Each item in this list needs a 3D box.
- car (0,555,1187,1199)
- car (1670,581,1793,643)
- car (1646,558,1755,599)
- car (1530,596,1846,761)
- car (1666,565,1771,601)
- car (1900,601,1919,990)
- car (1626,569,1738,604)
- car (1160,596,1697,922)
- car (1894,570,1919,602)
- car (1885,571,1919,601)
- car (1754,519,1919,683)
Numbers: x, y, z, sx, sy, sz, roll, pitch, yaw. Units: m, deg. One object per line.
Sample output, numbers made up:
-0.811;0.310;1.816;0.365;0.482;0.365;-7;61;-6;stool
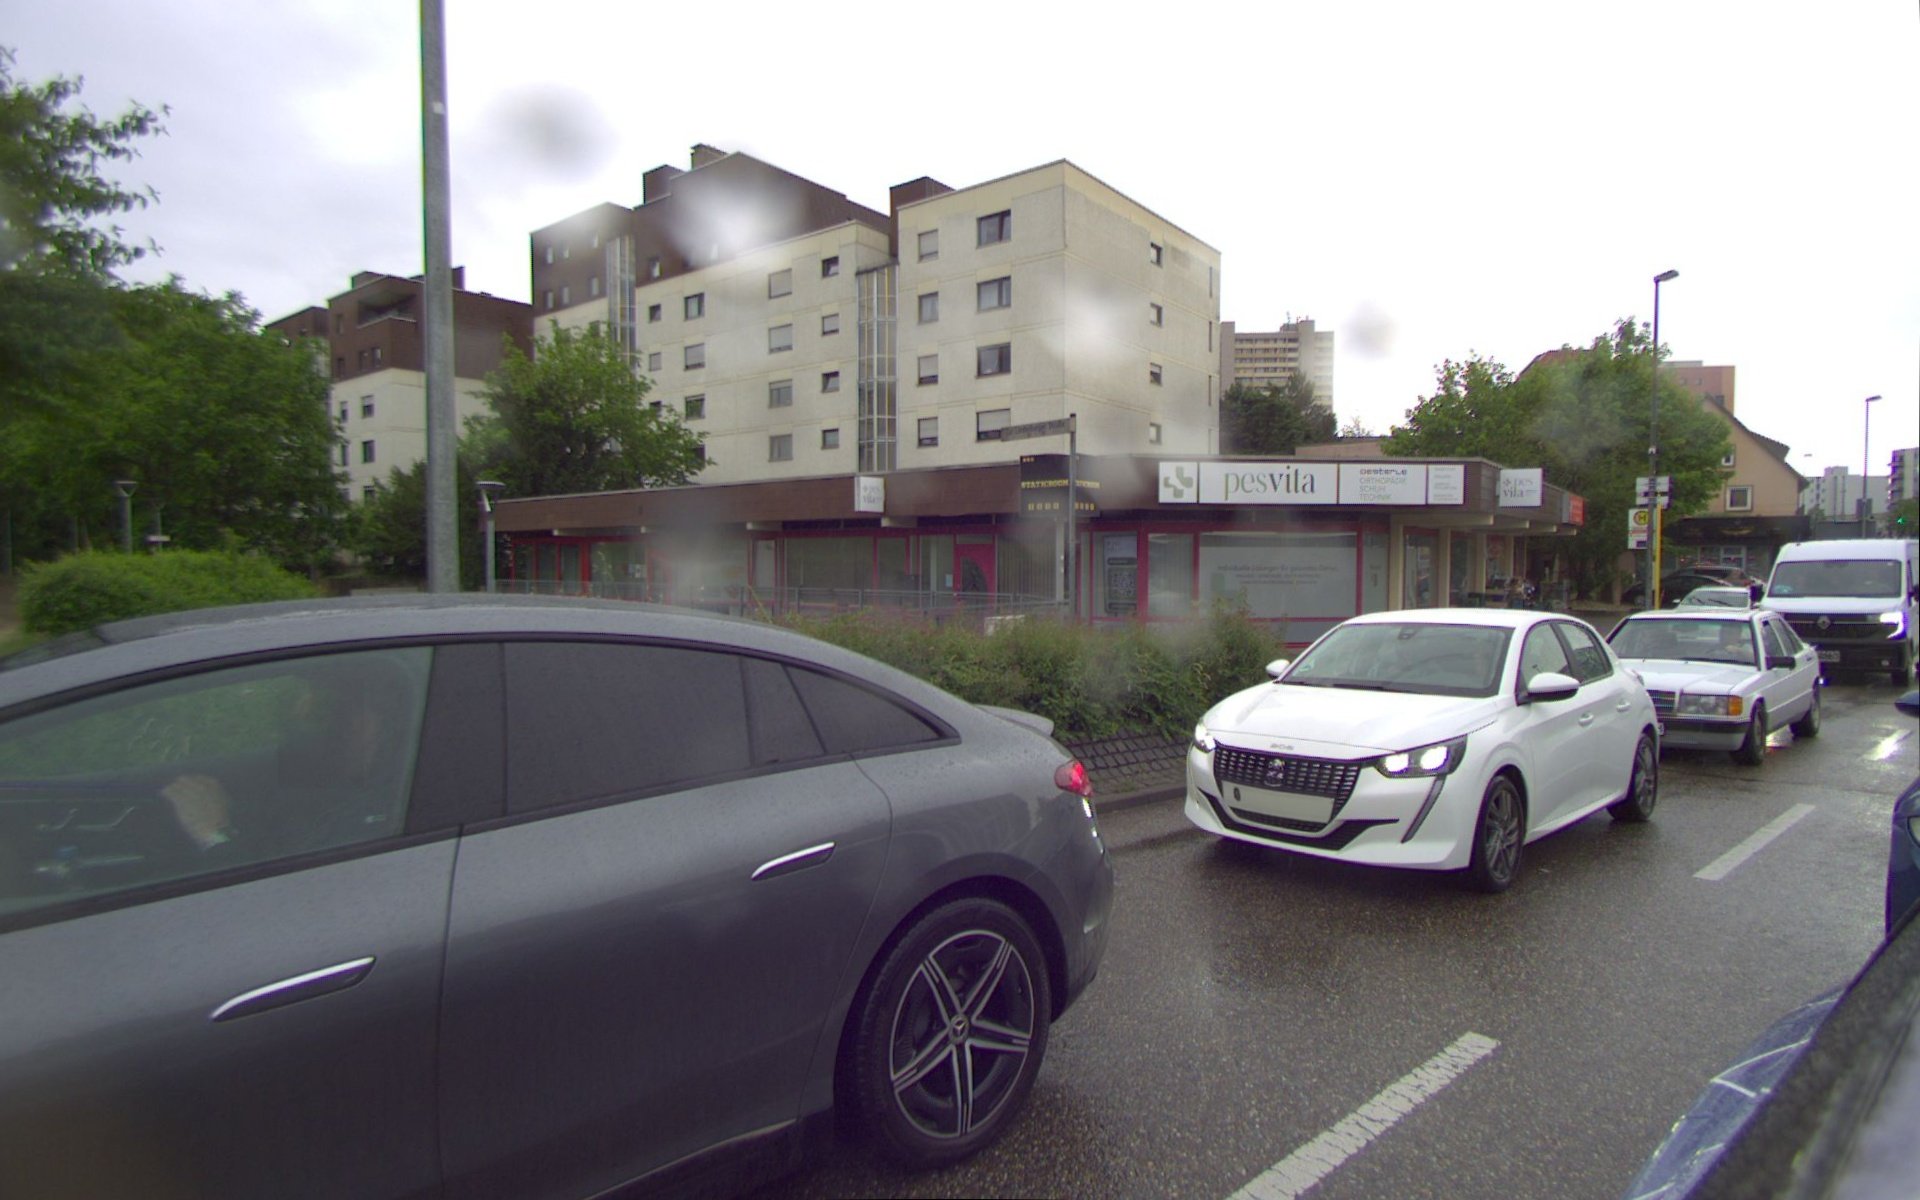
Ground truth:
-1.633;0.685;2.417;4.724;1.485;1.840;0;-1;-41;car
20.271;0.261;26.549;3.930;1.509;1.787;-1;1;-41;car
34.091;-0.997;46.626;3.981;1.801;1.858;2;2;39;car
7.743;0.657;10.624;4.089;1.362;1.787;-1;1;-41;car
36.600;-0.825;48.906;3.981;1.614;1.857;2;0;39;car
5.458;0.707;4.442;3.933;1.406;1.690;-1;1;-43;car
32.191;-0.627;45.160;3.981;1.445;1.858;2;2;39;car
3.215;0.710;6.549;4.043;1.433;1.665;-1;1;-41;car
62.786;-0.920;66.406;1.992;2.038;3.942;2;3;40;car
51.735;-0.792;54.910;3.933;1.588;1.996;-2;1;-43;car
16.413;-0.067;18.442;6.021;2.549;2.194;-2;2;-43;car
